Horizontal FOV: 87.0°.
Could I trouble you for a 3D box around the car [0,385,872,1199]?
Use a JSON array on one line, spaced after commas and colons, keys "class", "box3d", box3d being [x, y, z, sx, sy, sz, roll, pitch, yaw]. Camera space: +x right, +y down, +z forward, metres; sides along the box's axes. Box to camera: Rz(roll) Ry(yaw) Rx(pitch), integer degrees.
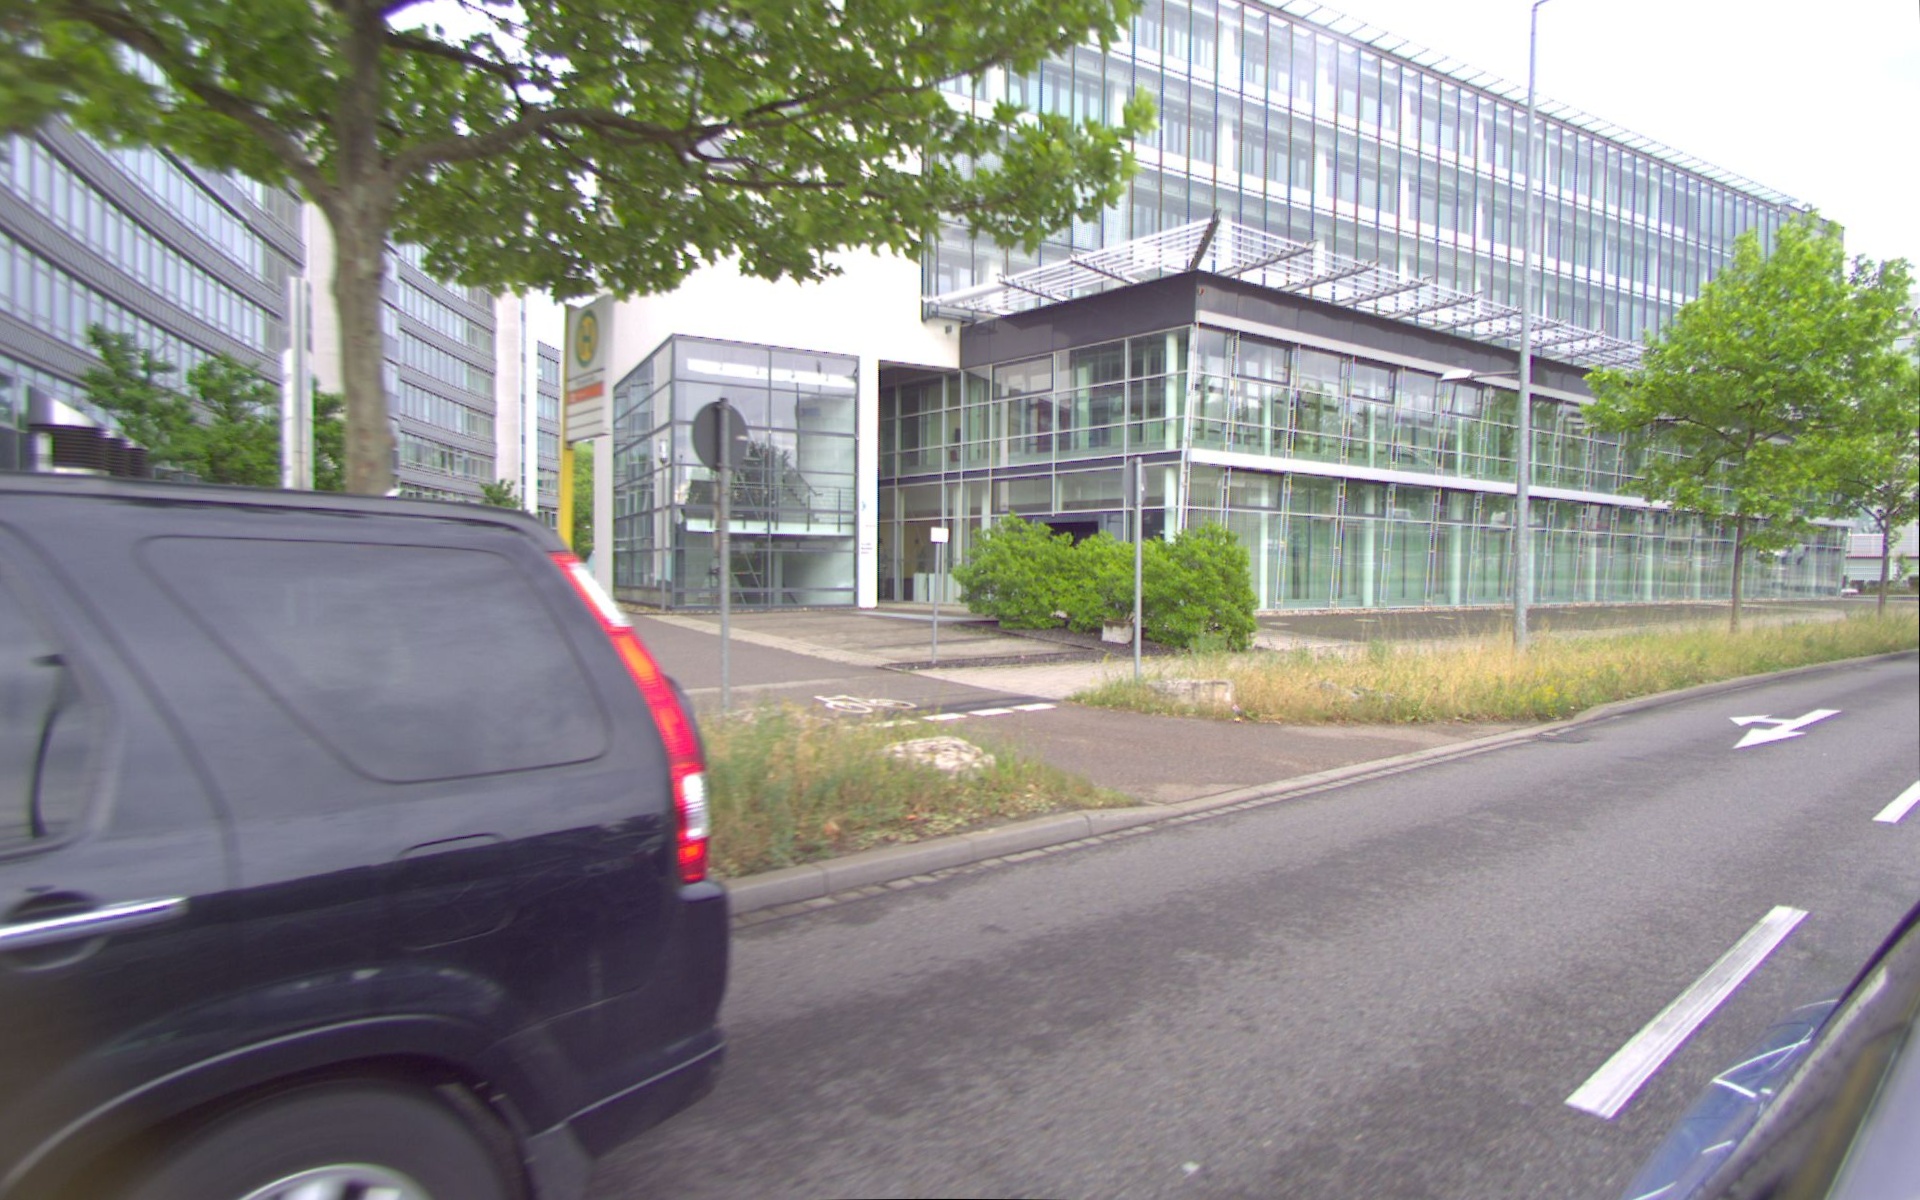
[{"class": "car", "box3d": [-2.391, 0.575, 1.498, 4.249, 1.650, 1.769, -2, 0, -40]}]
